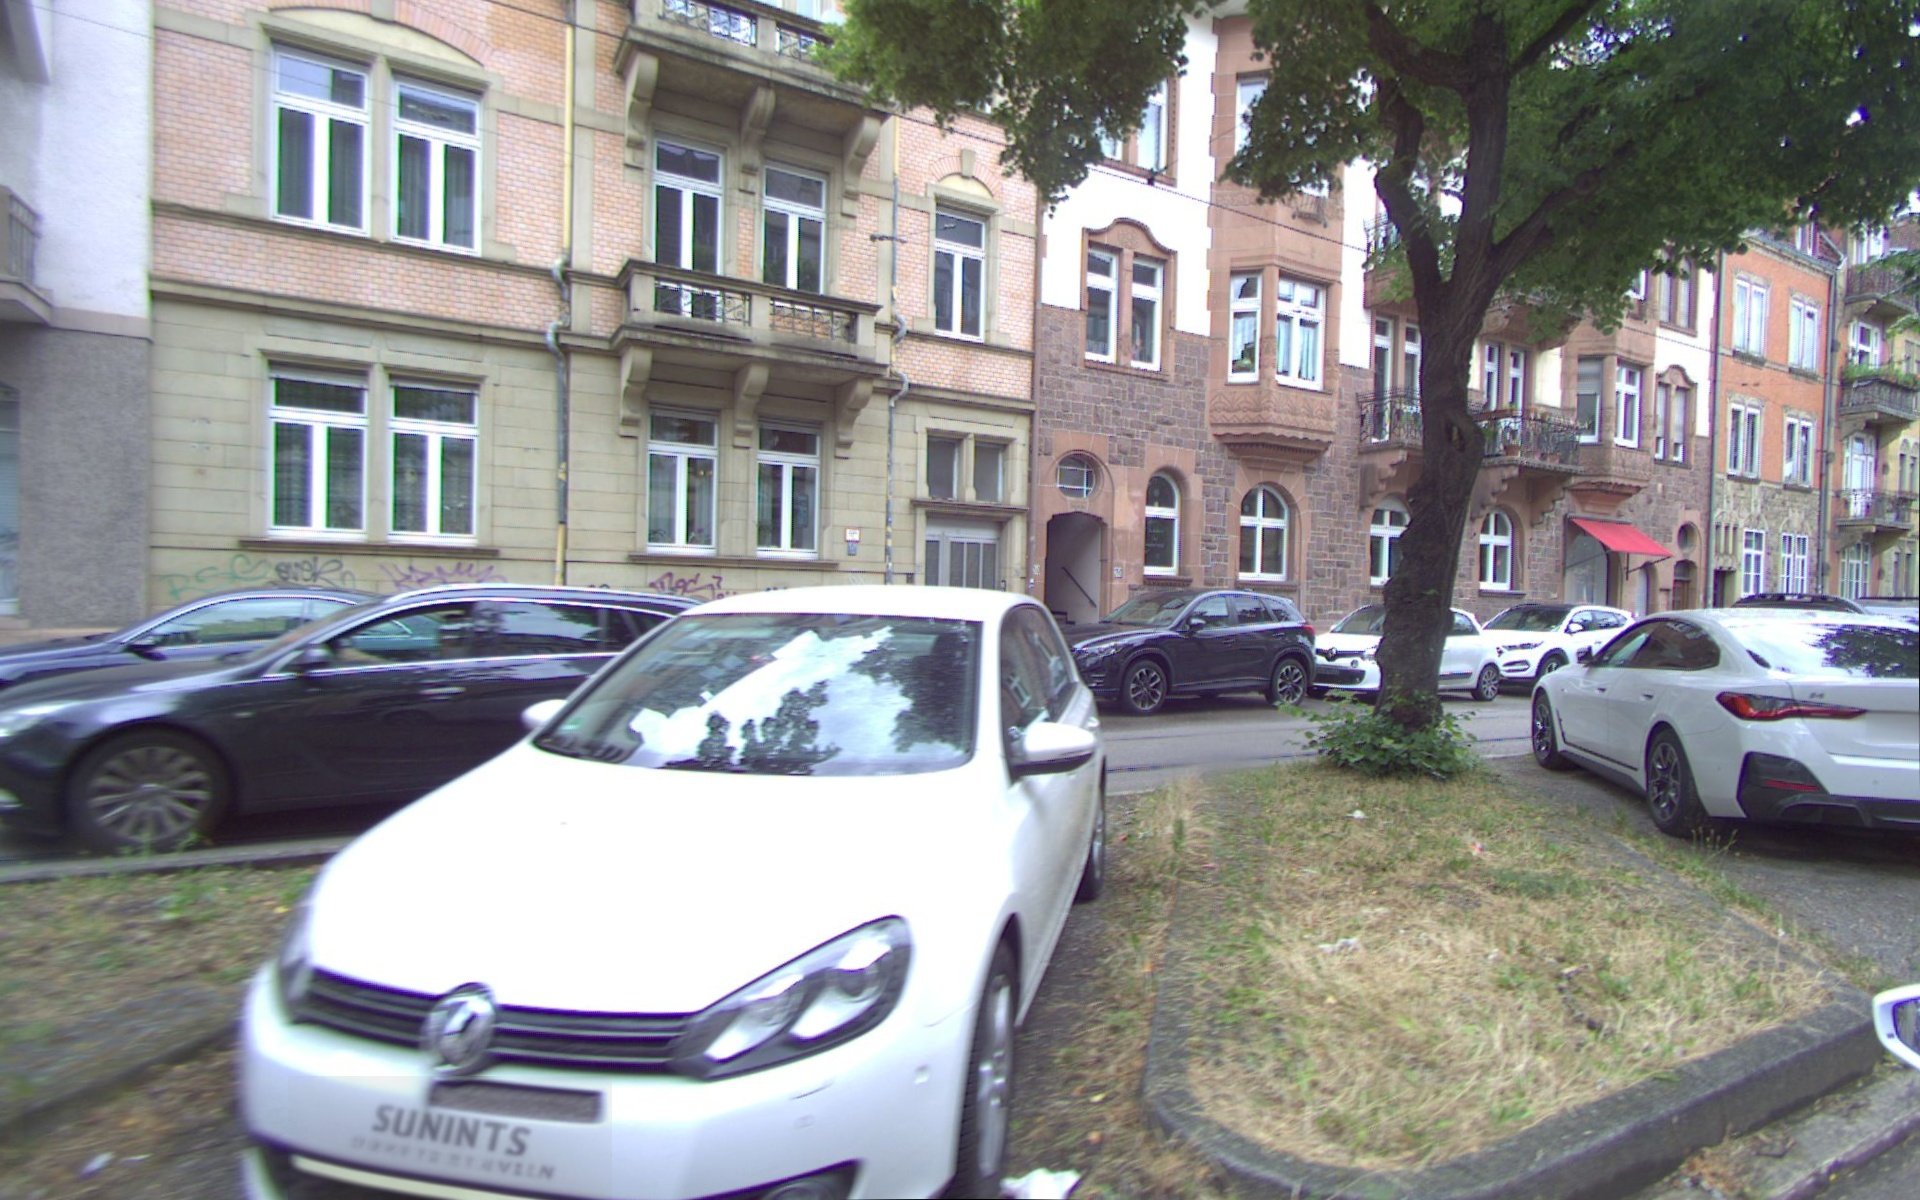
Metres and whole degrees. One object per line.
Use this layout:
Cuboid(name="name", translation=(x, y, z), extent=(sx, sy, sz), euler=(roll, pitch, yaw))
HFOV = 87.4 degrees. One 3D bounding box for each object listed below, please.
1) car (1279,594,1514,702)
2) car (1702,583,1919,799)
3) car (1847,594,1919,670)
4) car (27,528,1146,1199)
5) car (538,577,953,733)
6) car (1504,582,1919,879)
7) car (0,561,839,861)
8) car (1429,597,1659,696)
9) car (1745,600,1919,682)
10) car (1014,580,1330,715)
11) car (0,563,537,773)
Cuboid(name="car", translation=(7.179, 0.753, 16.476), extent=(3.679, 1.580, 1.654), euler=(2, 1, -30))
Cuboid(name="car", translation=(8.560, 0.733, 8.778), extent=(1.730, 1.655, 4.535), euler=(2, 0, 15))
Cuboid(name="car", translation=(26.954, 0.901, 27.974), extent=(5.034, 1.978, 1.872), euler=(2, 1, -30))
Cuboid(name="car", translation=(-0.392, 0.538, 3.697), extent=(1.826, 1.329, 4.131), euler=(2, 1, 14))
Cuboid(name="car", translation=(-2.338, 0.549, 11.221), extent=(4.181, 1.457, 1.796), euler=(2, 0, -30))
Cuboid(name="car", translation=(5.717, 0.698, 7.331), extent=(1.995, 1.510, 4.544), euler=(2, 0, 15))
Cuboid(name="car", translation=(-3.303, 0.581, 6.778), extent=(4.598, 1.472, 1.796), euler=(2, 0, -30))
Cuboid(name="car", translation=(11.039, 0.843, 18.912), extent=(4.501, 1.648, 1.732), euler=(2, 1, -30))
Cuboid(name="car", translation=(21.421, 0.979, 24.493), extent=(5.057, 1.805, 1.805), euler=(2, 1, -30))
Cuboid(name="car", translation=(3.037, 0.631, 14.176), extent=(4.270, 1.650, 1.760), euler=(2, 1, -30))
Cuboid(name="car", translation=(-6.146, 0.512, 8.744), extent=(4.336, 1.509, 1.796), euler=(2, 0, -30))
